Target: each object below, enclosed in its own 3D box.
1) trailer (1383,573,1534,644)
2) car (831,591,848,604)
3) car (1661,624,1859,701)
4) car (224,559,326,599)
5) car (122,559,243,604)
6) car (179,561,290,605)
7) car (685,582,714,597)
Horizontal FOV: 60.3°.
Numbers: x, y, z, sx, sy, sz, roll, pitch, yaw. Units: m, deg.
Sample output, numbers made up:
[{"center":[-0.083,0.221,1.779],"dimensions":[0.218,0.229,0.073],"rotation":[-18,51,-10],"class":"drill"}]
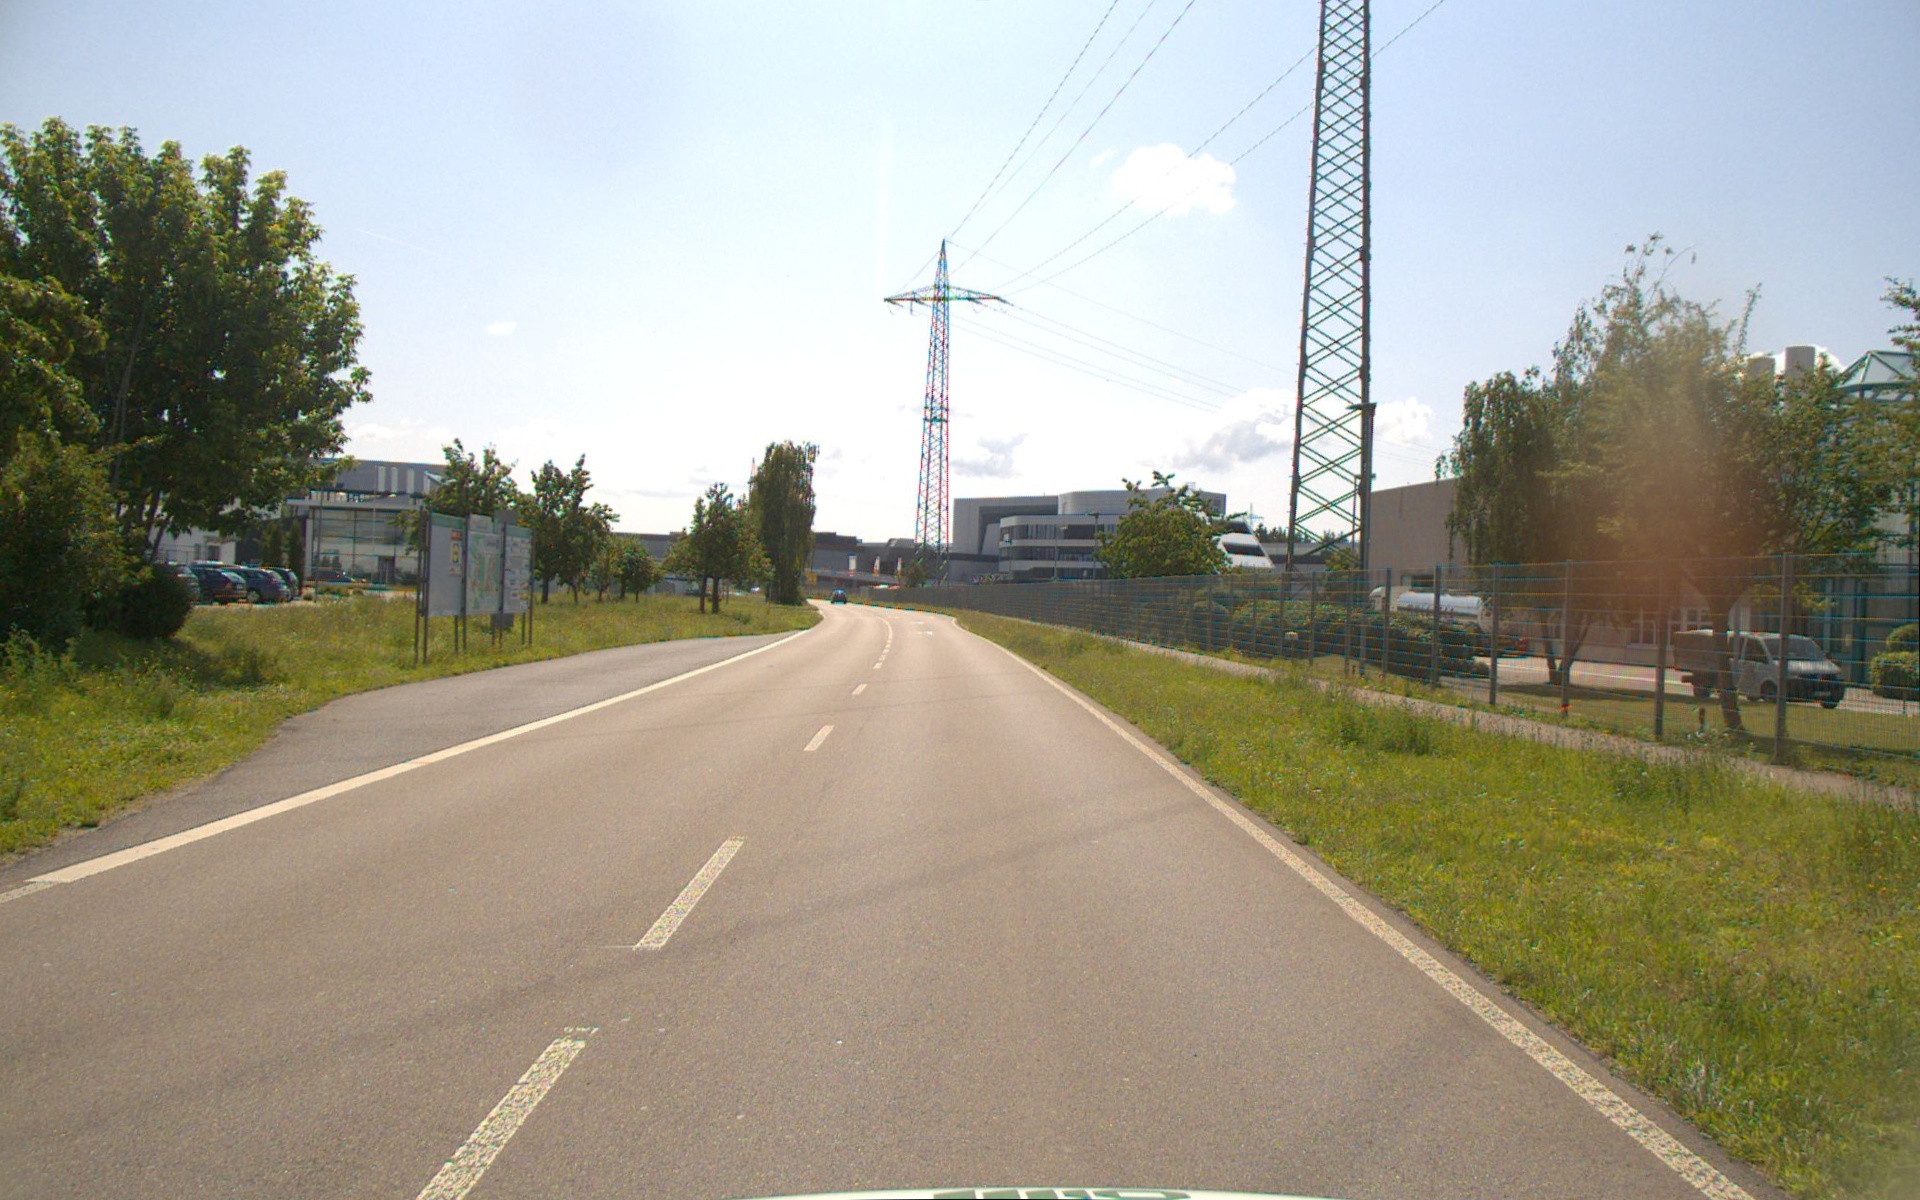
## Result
[{"center":[28.619,0.402,95.812],"dimensions":[3.523,3.800,12.216],"rotation":[1,0,-8],"class":"trailer"},{"center":[-14.587,-0.323,199.772],"dimensions":[1.972,1.534,3.996],"rotation":[1,0,-4],"class":"car"},{"center":[22.028,1.667,45.872],"dimensions":[2.071,1.810,5.643],"rotation":[2,0,-9],"class":"car"},{"center":[-32.020,-0.957,77.419],"dimensions":[3.912,1.668,1.997],"rotation":[3,0,-8],"class":"car"},{"center":[-30.685,-0.723,65.336],"dimensions":[3.912,1.582,1.663],"rotation":[3,0,-8],"class":"car"},{"center":[-31.425,-0.732,71.763],"dimensions":[3.912,1.668,1.997],"rotation":[3,0,-8],"class":"car"},{"center":[-36.210,-1.498,229.926],"dimensions":[3.914,1.601,1.995],"rotation":[5,-3,-9],"class":"car"}]
